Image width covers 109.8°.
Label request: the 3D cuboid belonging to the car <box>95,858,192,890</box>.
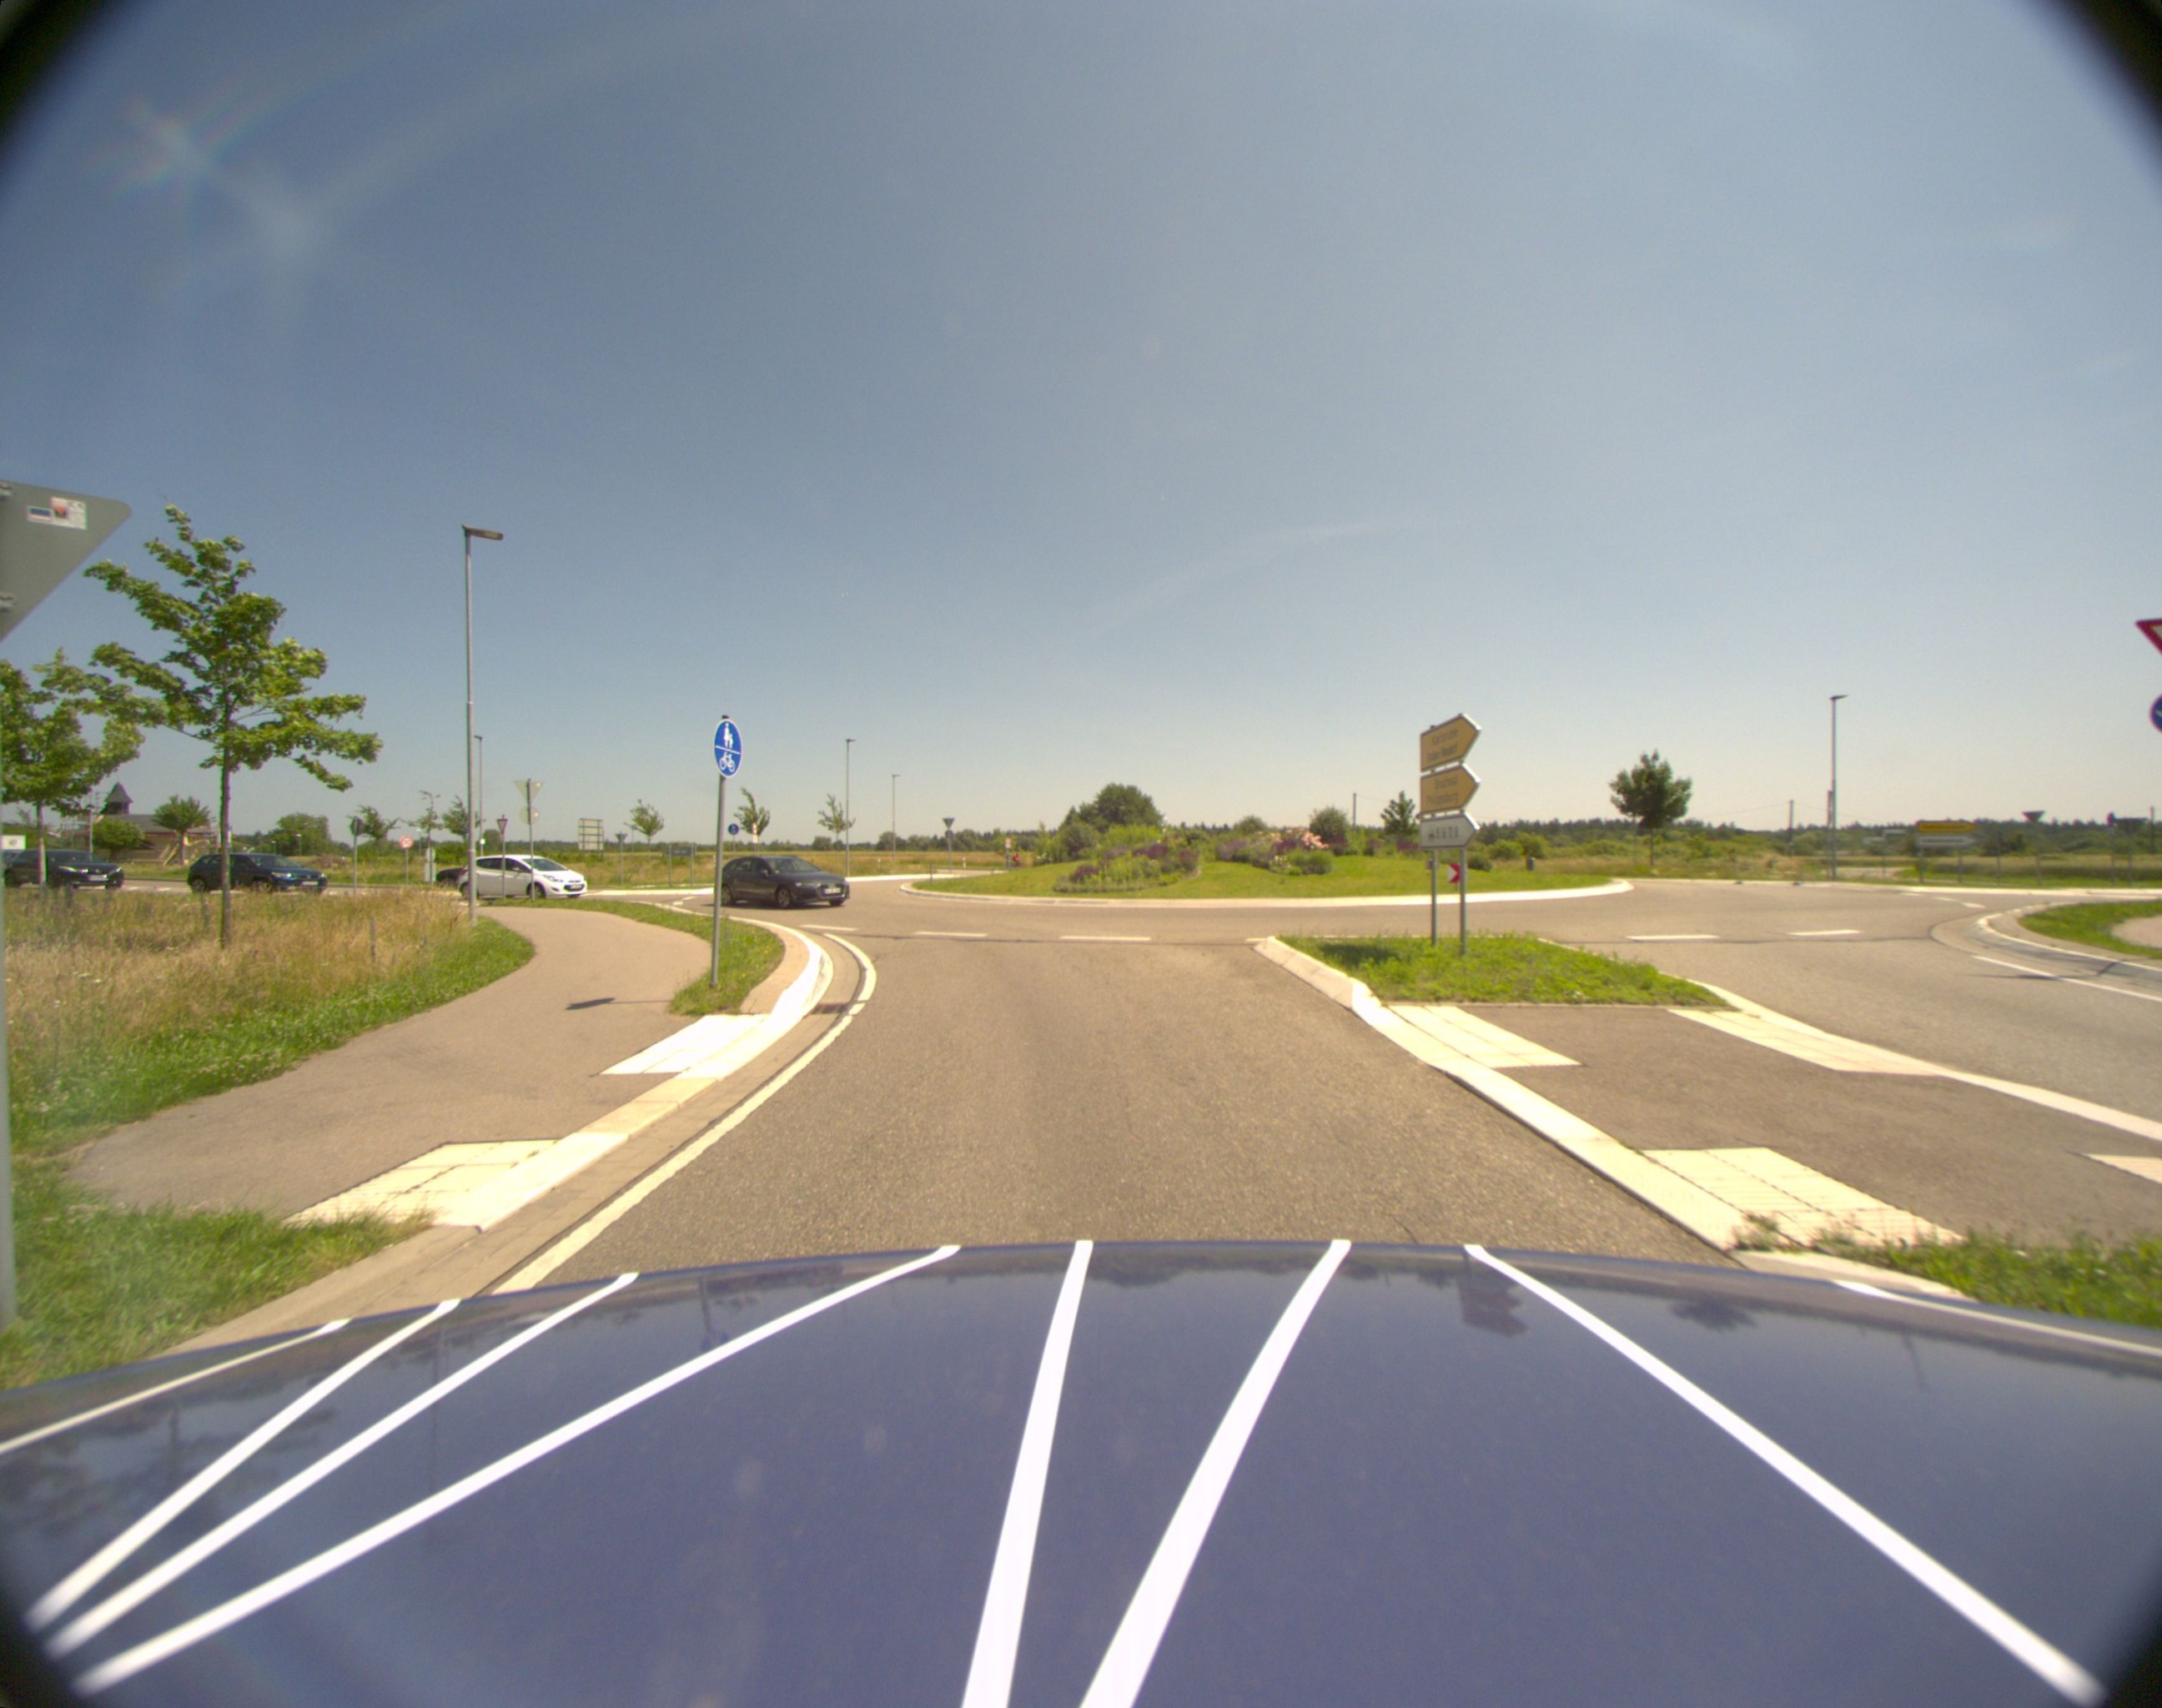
[{"bbox_3d":[-50.267,1.046,40.770,3.992,1.607,1.901,0,0,17],"label":"car"}]

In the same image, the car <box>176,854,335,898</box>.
[{"bbox_3d":[-30.664,0.783,28.312,4.147,1.553,1.722,0,1,3],"label":"car"}]

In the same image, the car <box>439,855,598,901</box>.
[{"bbox_3d":[-20.073,0.835,27.227,4.514,1.553,1.870,0,1,8],"label":"car"}]

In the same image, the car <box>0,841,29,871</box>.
[{"bbox_3d":[-95.730,0.202,65.050,6.147,2.569,2.351,0,0,-30],"label":"car"}]

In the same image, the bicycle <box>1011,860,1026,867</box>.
[{"bbox_3d":[-6.375,0.974,77.172,1.466,0.725,0.580,0,0,36],"label":"bicycle"}]

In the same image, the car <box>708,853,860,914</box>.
[{"bbox_3d":[-8.461,0.755,21.494,4.507,1.426,1.873,1,3,37],"label":"car"}]

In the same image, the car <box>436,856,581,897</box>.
[{"bbox_3d":[-26.310,1.003,35.113,4.891,1.640,1.951,-2,1,-13],"label":"car"}]

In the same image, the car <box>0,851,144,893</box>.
[{"bbox_3d":[-40.790,0.686,30.687,4.716,1.553,1.871,0,1,14],"label":"car"}]

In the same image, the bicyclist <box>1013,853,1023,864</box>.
[{"bbox_3d":[-6.402,0.468,77.180,0.722,1.072,0.580,0,1,35],"label":"bicyclist"}]
